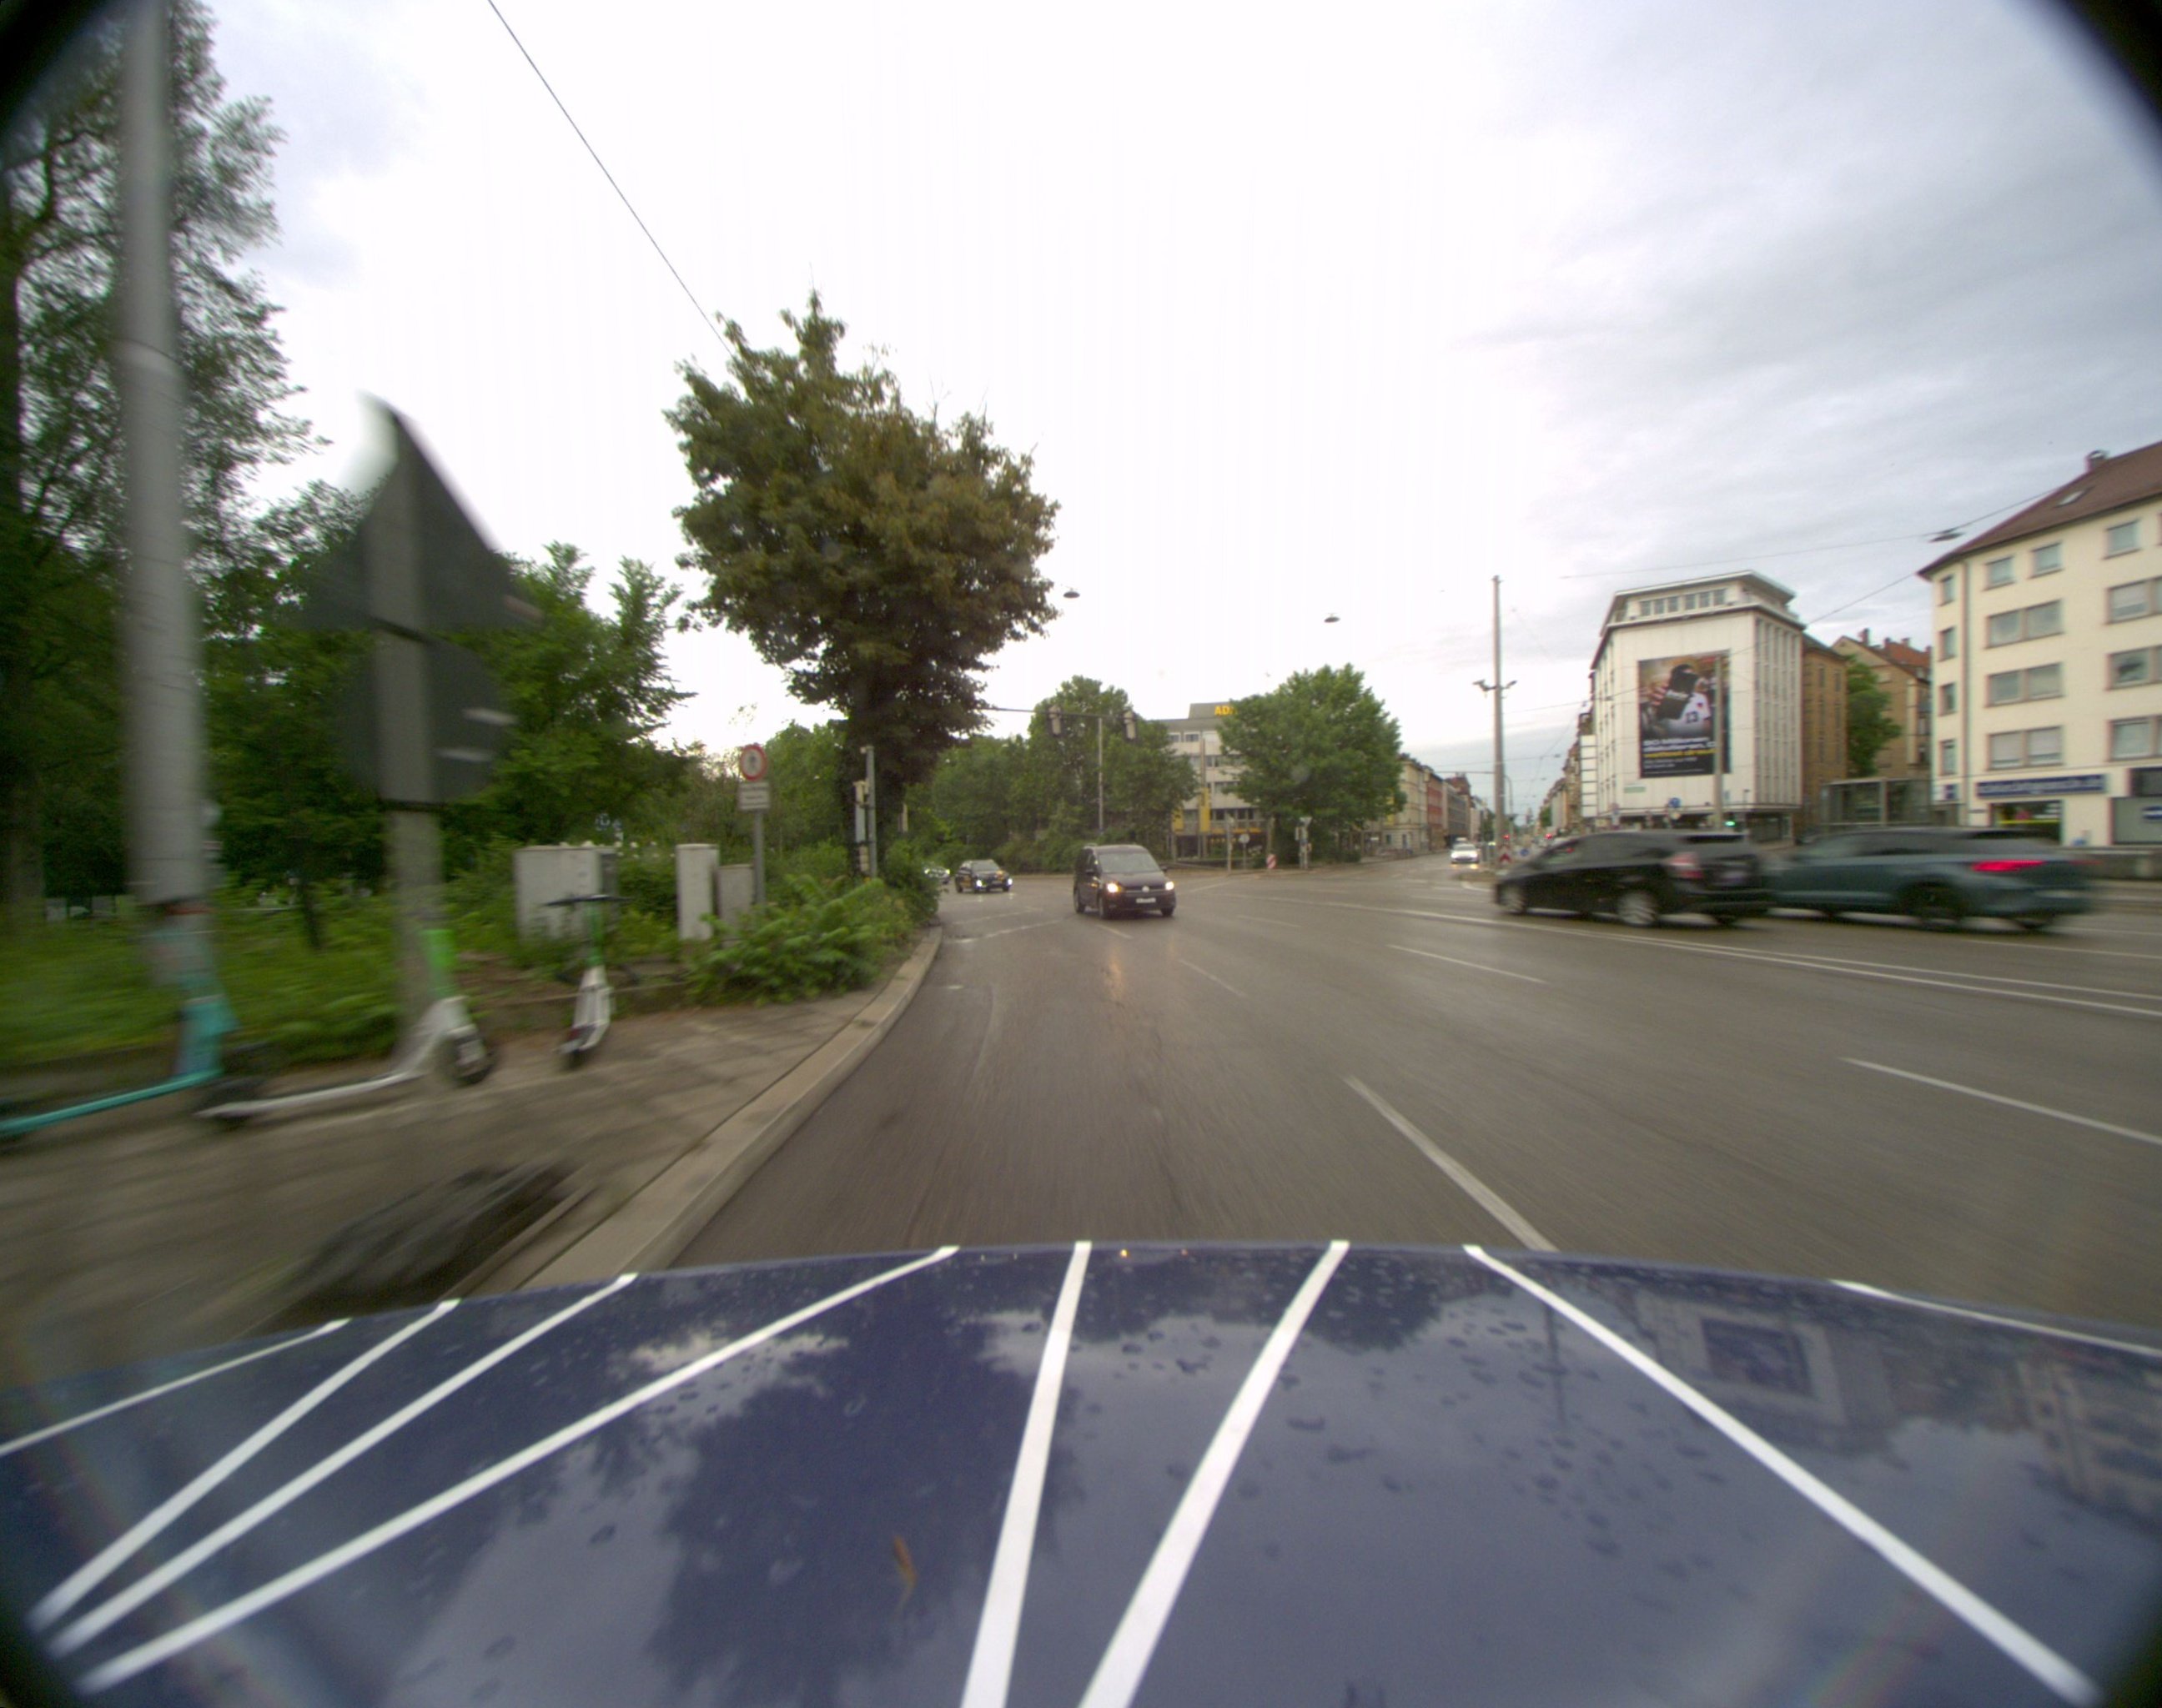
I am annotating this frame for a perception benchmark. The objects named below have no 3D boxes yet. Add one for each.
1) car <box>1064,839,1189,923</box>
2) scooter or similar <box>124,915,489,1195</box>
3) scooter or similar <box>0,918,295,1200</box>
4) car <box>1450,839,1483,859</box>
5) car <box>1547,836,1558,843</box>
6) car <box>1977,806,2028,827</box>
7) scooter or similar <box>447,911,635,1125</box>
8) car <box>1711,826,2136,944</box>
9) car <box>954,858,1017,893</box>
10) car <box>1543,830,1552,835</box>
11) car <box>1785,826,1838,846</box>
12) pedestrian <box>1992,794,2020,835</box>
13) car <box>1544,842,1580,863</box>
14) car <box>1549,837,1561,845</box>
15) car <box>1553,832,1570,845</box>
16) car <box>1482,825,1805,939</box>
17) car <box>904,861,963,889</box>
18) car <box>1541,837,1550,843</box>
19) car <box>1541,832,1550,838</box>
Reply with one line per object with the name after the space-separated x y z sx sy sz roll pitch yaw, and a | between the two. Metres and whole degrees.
1.004 0.593 19.152 1.797 1.789 4.119 -3 1 -16 | car
-4.294 1.018 4.328 0.687 1.194 1.341 0 2 44 | scooter or similar
-5.188 0.999 3.999 0.563 1.194 1.326 -1 1 13 | scooter or similar
29.058 -0.383 57.246 1.995 1.442 4.236 0 1 30 | car
95.163 -2.975 153.443 1.776 1.313 3.685 0 1 33 | car
77.544 -3.197 63.925 4.005 1.582 1.914 -3 2 -28 | car
-3.706 1.042 5.366 0.637 1.122 1.590 -1 1 -19 | scooter or similar
12.737 0.370 11.997 1.823 1.503 4.230 -1 1 -6 | car
-4.809 1.015 37.882 1.934 1.532 3.992 -2 1 -24 | car
124.774 -5.658 203.186 1.776 1.313 3.685 0 1 33 | car
59.564 -1.485 61.936 4.005 1.581 1.914 -1 1 -28 | car
45.789 -1.967 37.613 0.567 2.002 0.677 -1 1 -9 | pedestrian
44.599 -0.173 70.500 1.995 1.833 4.446 -1 1 21 | car
83.634 -2.265 134.011 1.776 1.313 3.685 0 1 34 | car
63.896 -2.057 101.048 1.871 1.569 4.007 0 1 32 | car
9.385 0.382 13.292 1.859 1.613 4.588 -1 1 -8 | car
-10.058 1.381 51.594 2.004 1.735 4.642 -2 1 -37 | car
107.852 -3.267 176.361 1.776 1.313 3.685 0 1 33 | car
117.177 -4.799 191.561 1.776 1.313 3.685 0 1 33 | car
